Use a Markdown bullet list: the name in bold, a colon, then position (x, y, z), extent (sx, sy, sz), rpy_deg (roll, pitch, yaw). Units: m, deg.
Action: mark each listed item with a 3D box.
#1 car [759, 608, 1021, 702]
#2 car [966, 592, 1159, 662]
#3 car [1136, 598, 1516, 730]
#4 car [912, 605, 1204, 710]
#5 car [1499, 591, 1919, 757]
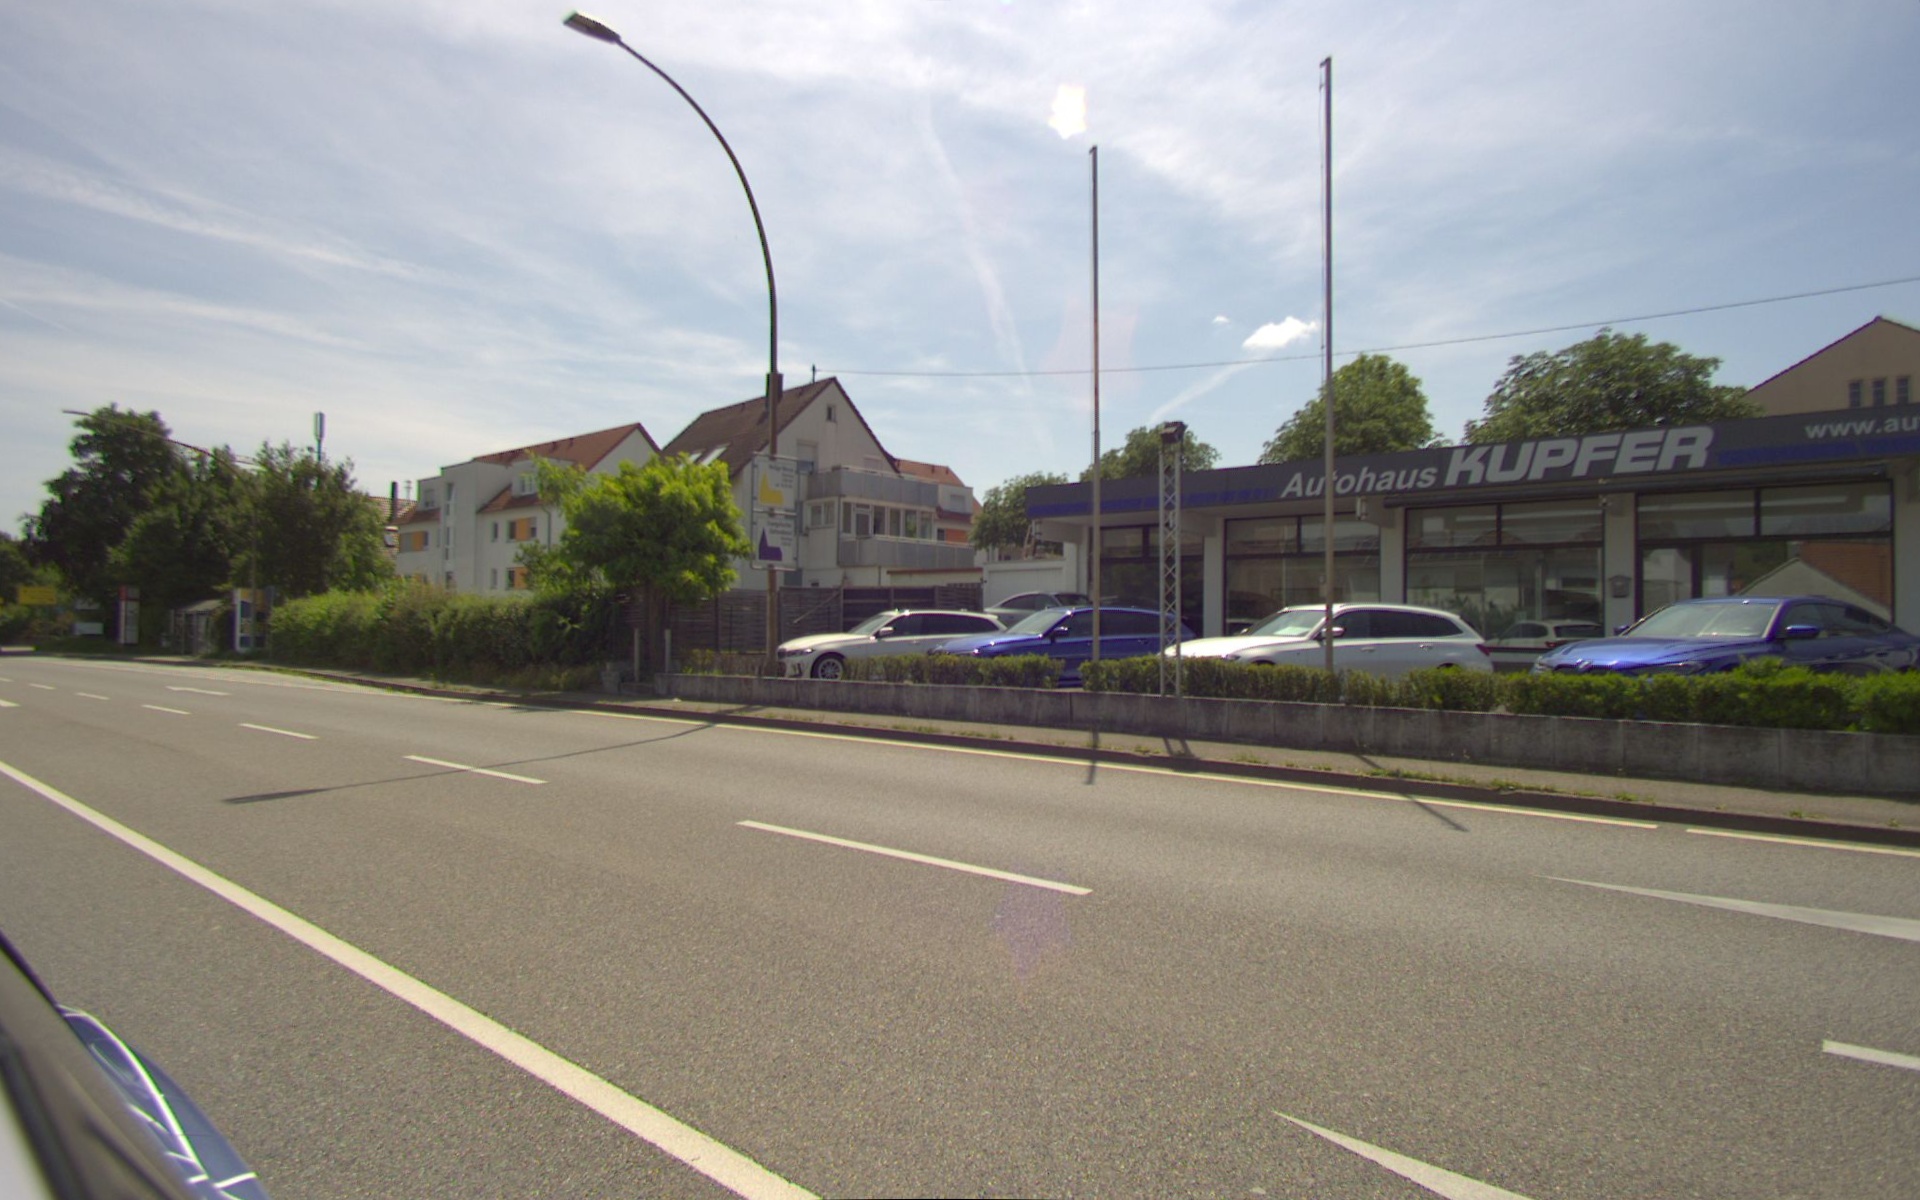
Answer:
- **car**: position (-1.310, 0.959, 18.925), extent (4.501, 1.458, 1.863), rpy_deg (-2, 1, -21)
- **car**: position (2.305, 0.612, 23.879), extent (1.782, 1.475, 4.589), rpy_deg (0, -1, -40)
- **car**: position (4.762, 0.753, 13.274), extent (4.438, 1.458, 1.863), rpy_deg (-1, -1, -18)
- **car**: position (1.564, 0.841, 16.254), extent (4.267, 1.458, 1.863), rpy_deg (-1, 0, -21)
- **car**: position (8.112, 0.656, 10.662), extent (4.267, 1.458, 1.863), rpy_deg (-1, 0, -19)
